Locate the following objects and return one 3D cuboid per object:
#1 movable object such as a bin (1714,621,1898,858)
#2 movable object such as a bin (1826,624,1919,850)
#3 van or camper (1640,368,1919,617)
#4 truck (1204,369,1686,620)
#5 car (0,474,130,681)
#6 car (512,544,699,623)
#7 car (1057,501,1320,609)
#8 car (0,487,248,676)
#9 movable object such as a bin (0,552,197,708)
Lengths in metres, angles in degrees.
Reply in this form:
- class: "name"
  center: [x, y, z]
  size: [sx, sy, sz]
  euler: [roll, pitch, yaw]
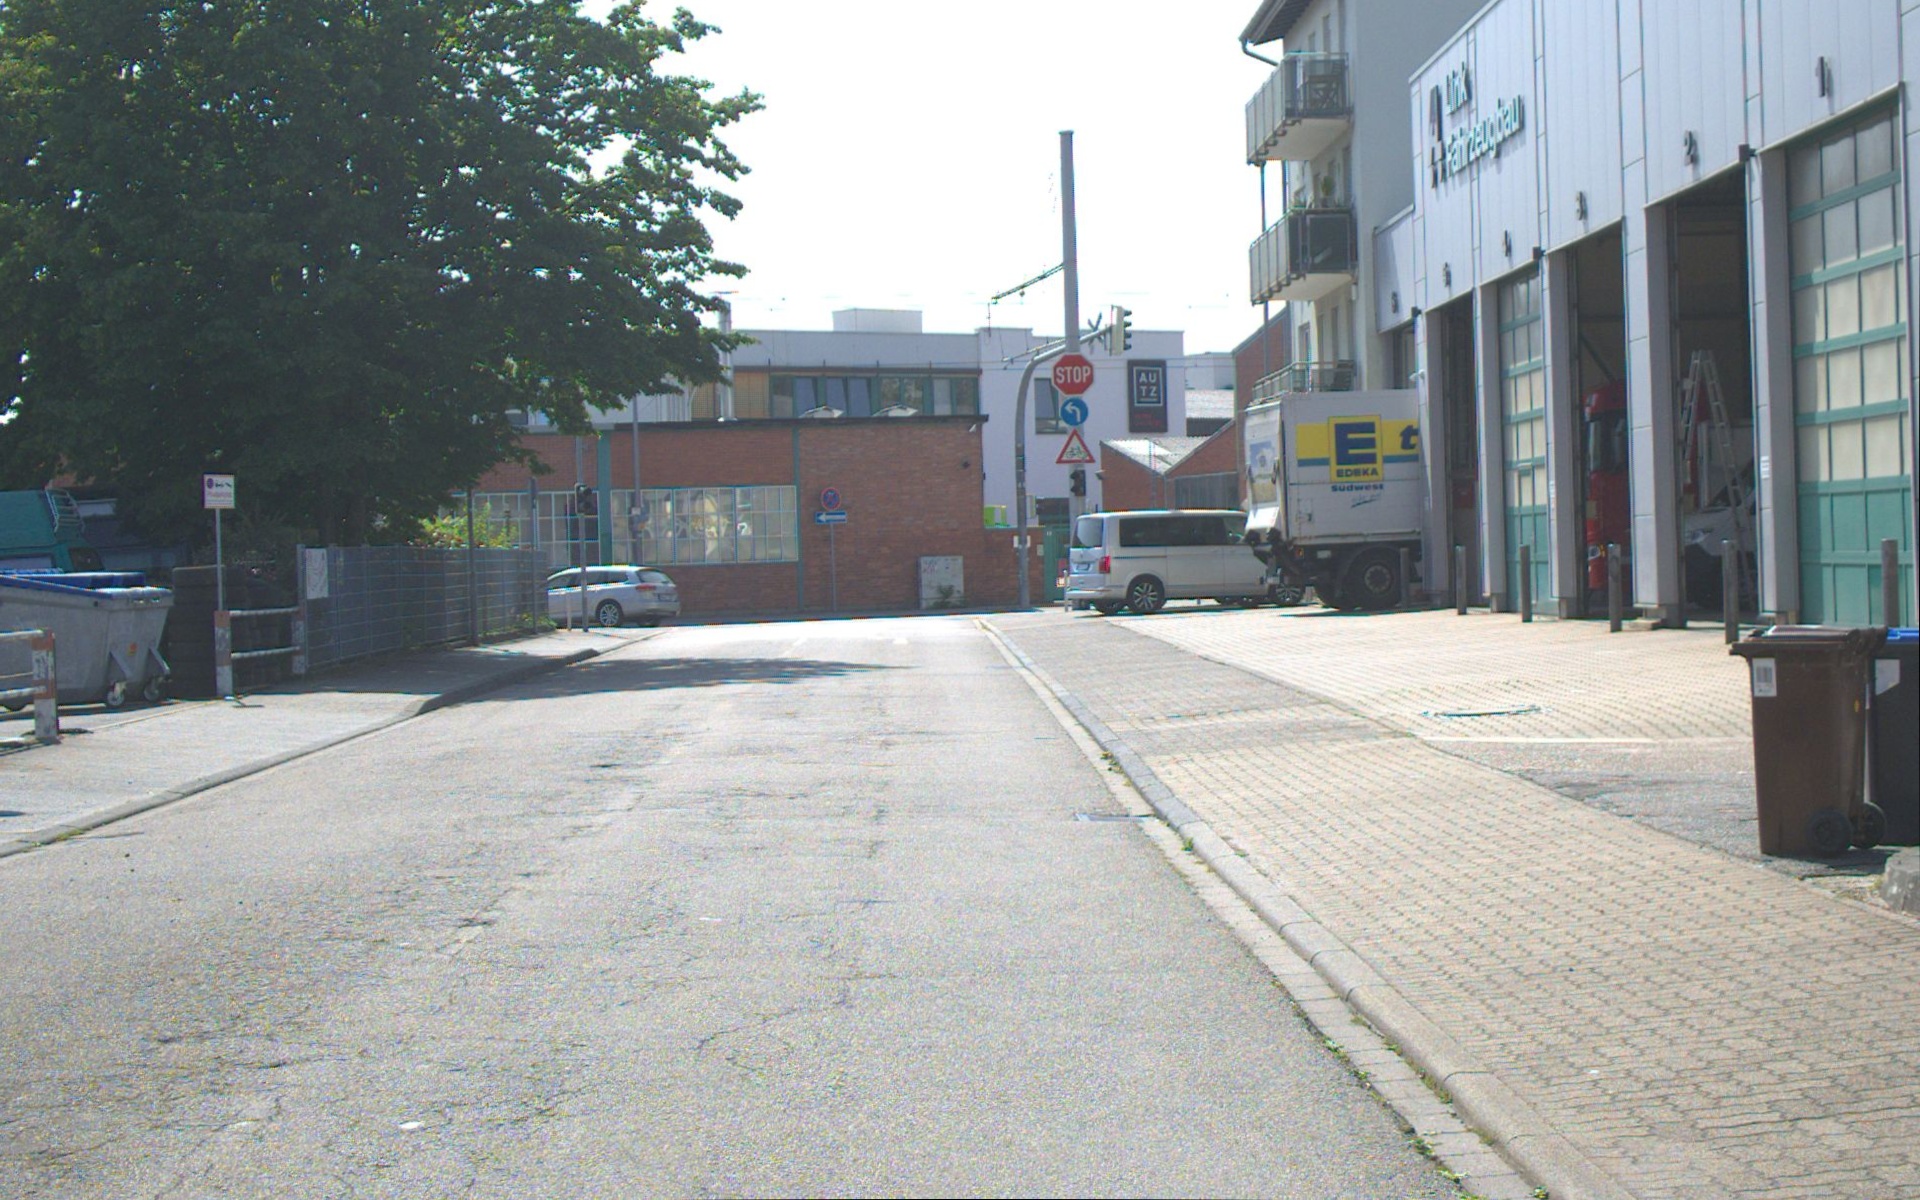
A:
- class: "movable object such as a bin"
  center: [3.530, 0.574, 14.341]
  size: [0.568, 0.943, 0.556]
  euler: [-1, 1, 33]
- class: "movable object such as a bin"
  center: [4.036, 0.584, 14.850]
  size: [0.514, 0.943, 0.487]
  euler: [-2, 1, 11]
- class: "van or camper"
  center: [11.981, -1.476, 47.226]
  size: [4.755, 3.277, 2.000]
  euler: [-1, 1, -4]
- class: "truck"
  center: [8.116, -1.764, 57.962]
  size: [7.357, 3.633, 2.768]
  euler: [-4, 1, -6]
- class: "car"
  center: [-12.598, -0.257, 42.785]
  size: [4.085, 2.504, 1.777]
  euler: [-1, 1, -2]
- class: "car"
  center: [-8.343, -0.390, 80.883]
  size: [3.951, 1.679, 1.894]
  euler: [-2, 1, 29]
- class: "car"
  center: [4.400, -0.871, 66.351]
  size: [4.653, 1.951, 1.917]
  euler: [-1, 1, -19]
- class: "car"
  center: [-12.090, -0.247, 47.613]
  size: [4.085, 2.504, 1.777]
  euler: [-1, 1, -2]
- class: "movable object such as a bin"
  center: [-9.644, 0.304, 35.660]
  size: [2.627, 1.505, 2.728]
  euler: [-2, 1, 5]
